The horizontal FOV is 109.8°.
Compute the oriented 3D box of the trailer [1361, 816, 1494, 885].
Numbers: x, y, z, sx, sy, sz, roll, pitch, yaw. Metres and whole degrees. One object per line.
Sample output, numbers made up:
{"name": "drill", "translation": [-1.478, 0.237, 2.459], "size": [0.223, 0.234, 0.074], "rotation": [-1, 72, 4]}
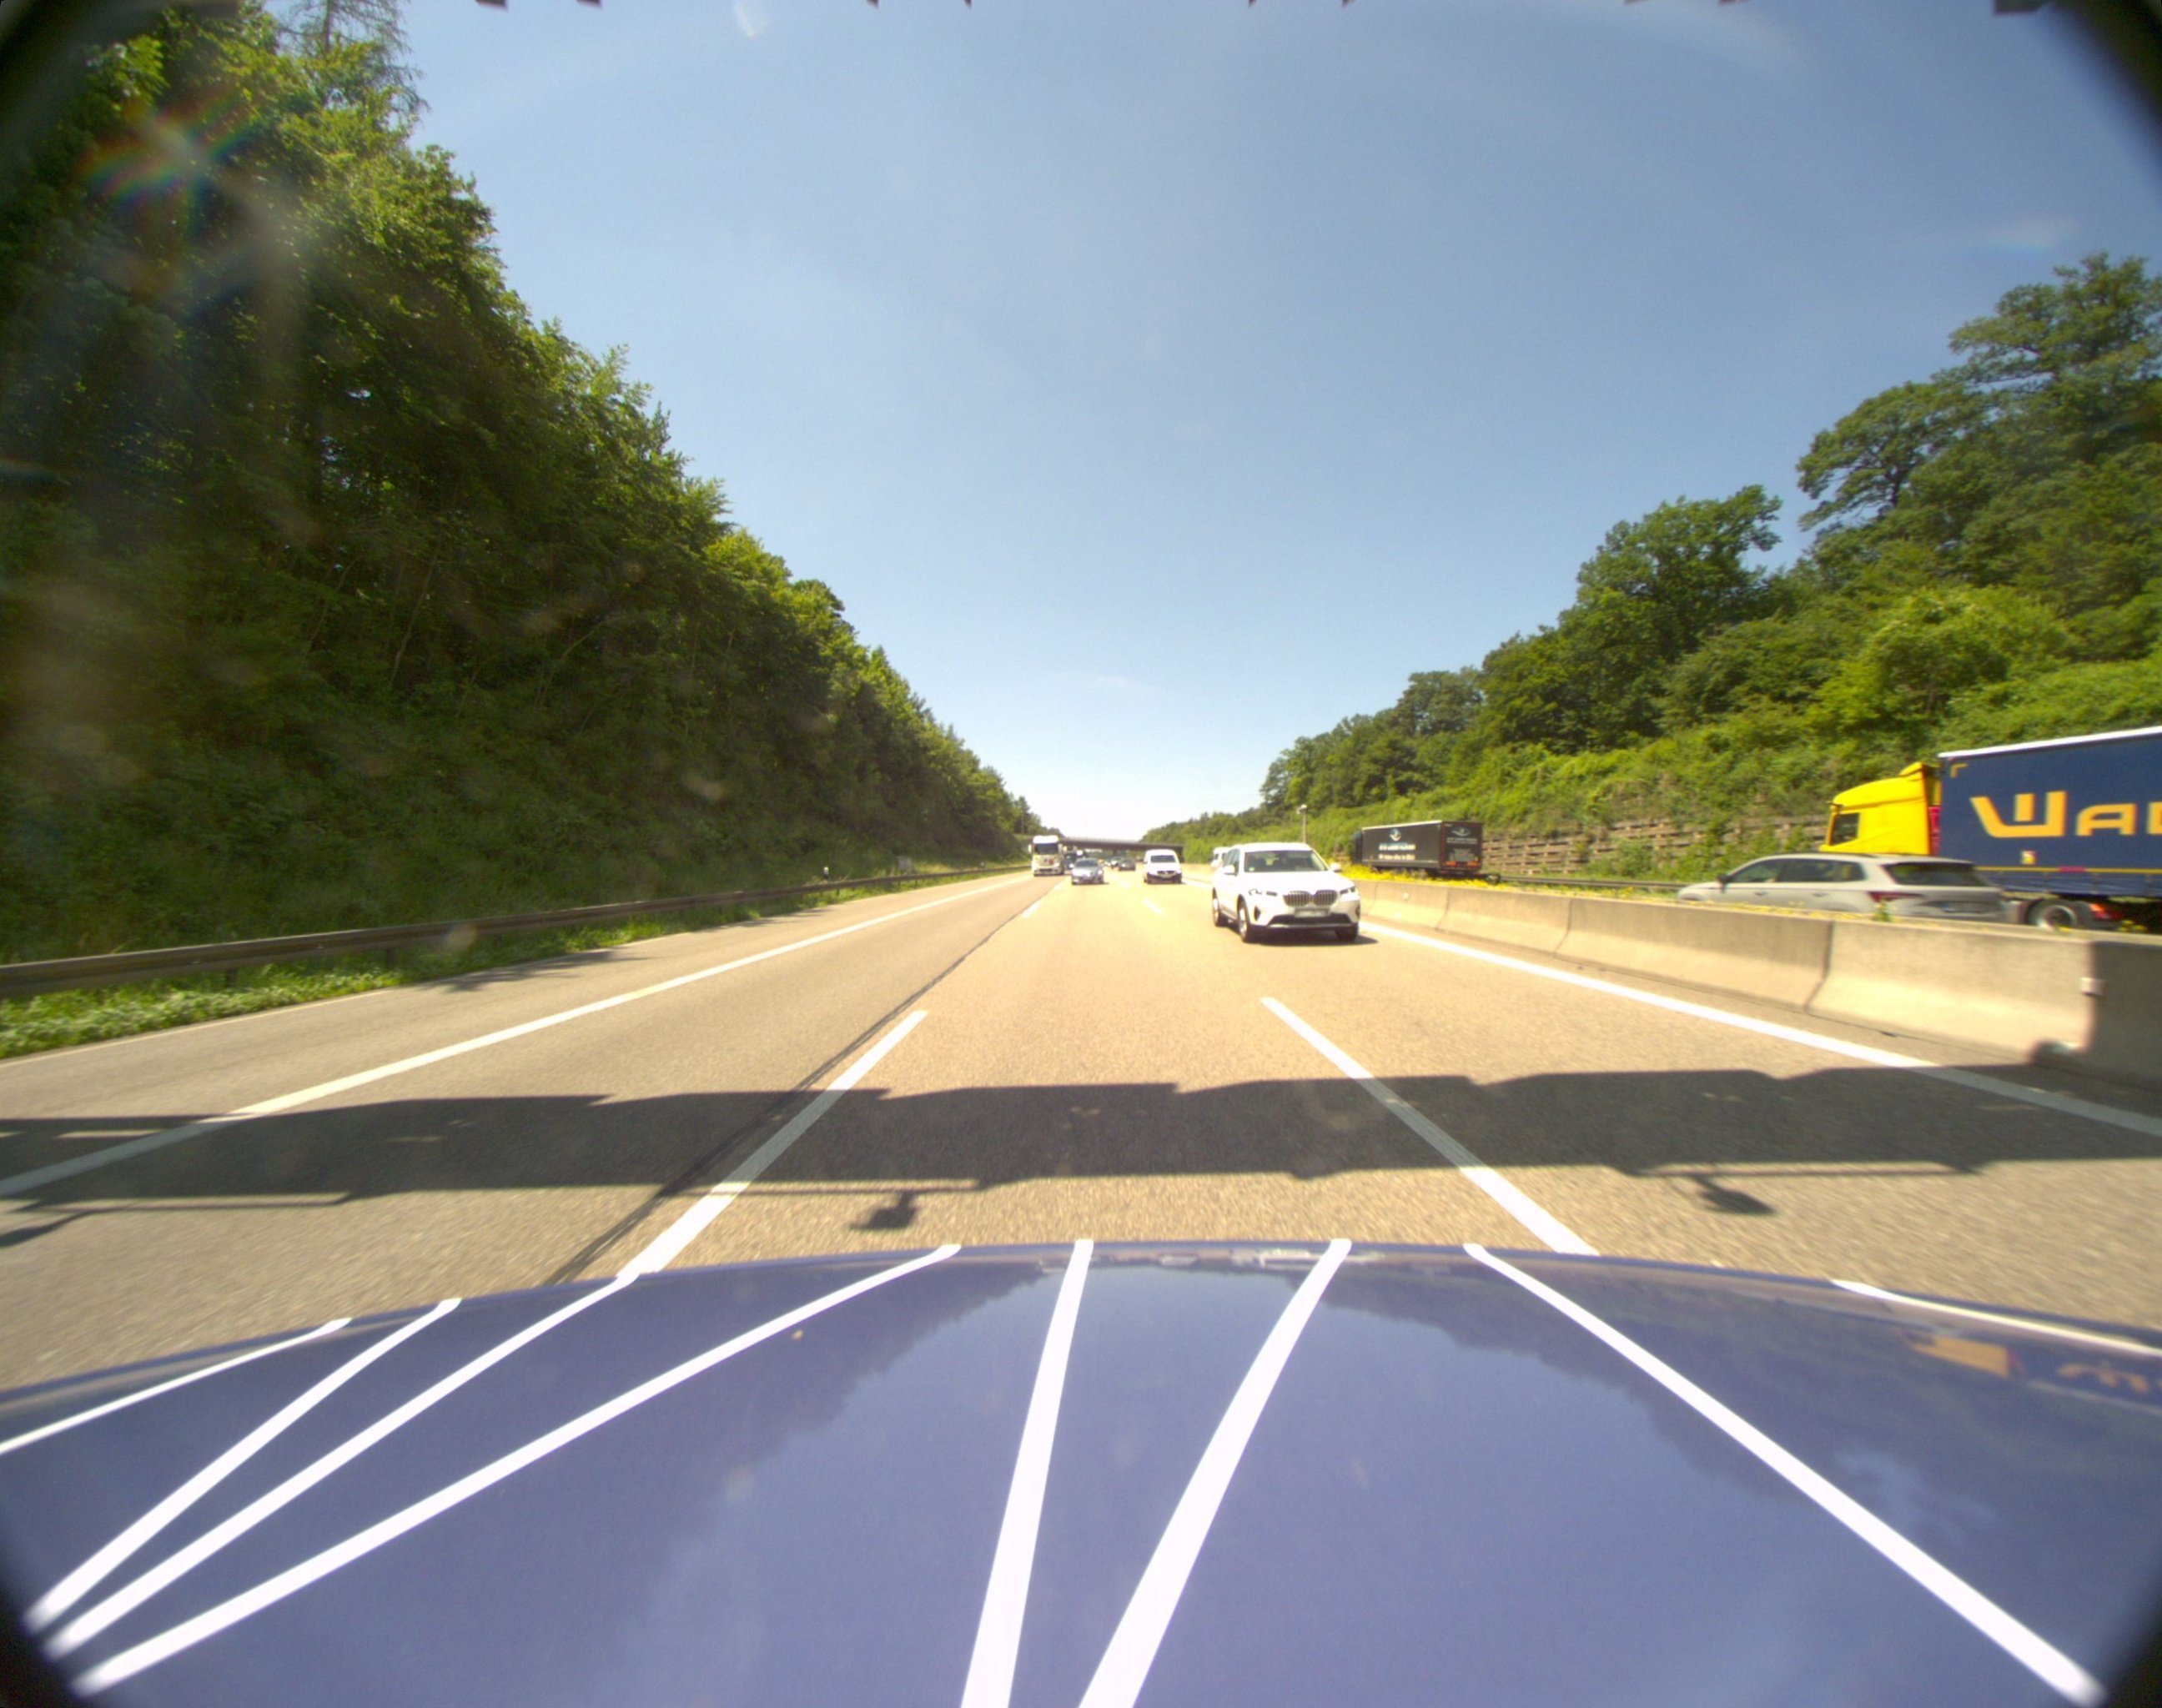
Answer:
{"name": "trailer", "translation": [23.411, -0.226, 52.696], "size": [2.985, 4.077, 13.994], "rotation": [1, 0, 1]}

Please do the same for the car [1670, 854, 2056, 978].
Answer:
{"name": "car", "translation": [11.774, 0.821, 11.955], "size": [1.848, 1.595, 4.117], "rotation": [0, 0, 1]}

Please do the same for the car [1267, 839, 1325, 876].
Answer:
{"name": "car", "translation": [16.186, 0.282, 57.580], "size": [2.761, 2.658, 5.684], "rotation": [0, 0, 1]}

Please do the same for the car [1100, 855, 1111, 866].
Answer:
{"name": "car", "translation": [4.625, 1.217, 142.120], "size": [1.924, 1.849, 4.000], "rotation": [-3, 0, 2]}

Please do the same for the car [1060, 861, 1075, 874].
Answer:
{"name": "car", "translation": [-1.776, 1.790, 99.518], "size": [1.770, 1.504, 4.000], "rotation": [-3, 0, 1]}

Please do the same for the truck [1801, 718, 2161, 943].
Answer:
{"name": "truck", "translation": [20.979, -0.414, 17.390], "size": [2.957, 4.178, 6.459], "rotation": [1, 0, 3]}

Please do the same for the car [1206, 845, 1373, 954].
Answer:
{"name": "car", "translation": [3.584, 0.713, 13.915], "size": [1.850, 1.634, 4.368], "rotation": [-2, 0, 1]}

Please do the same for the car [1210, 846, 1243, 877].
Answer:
{"name": "car", "translation": [12.904, 0.622, 67.716], "size": [2.003, 2.658, 4.846], "rotation": [0, 0, 1]}

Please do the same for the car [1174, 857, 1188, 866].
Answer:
{"name": "car", "translation": [17.362, 1.274, 131.893], "size": [1.944, 1.595, 4.656], "rotation": [0, 0, 1]}

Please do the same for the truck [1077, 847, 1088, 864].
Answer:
{"name": "truck", "translation": [0.525, 0.392, 201.680], "size": [2.627, 4.365, 13.087], "rotation": [-3, 0, 1]}

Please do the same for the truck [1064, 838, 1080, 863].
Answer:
{"name": "truck", "translation": [-1.681, -0.653, 144.050], "size": [2.627, 4.365, 13.087], "rotation": [-3, 0, 1]}

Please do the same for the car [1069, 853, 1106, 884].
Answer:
{"name": "car", "translation": [0.405, 0.776, 42.555], "size": [1.843, 1.518, 4.502], "rotation": [-3, 0, 2]}

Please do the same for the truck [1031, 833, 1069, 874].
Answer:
{"name": "truck", "translation": [-2.849, -0.073, 73.258], "size": [2.844, 3.518, 13.087], "rotation": [-3, 0, 1]}

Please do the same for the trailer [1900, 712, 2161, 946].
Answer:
{"name": "trailer", "translation": [20.580, -0.410, 10.733], "size": [2.985, 4.182, 14.468], "rotation": [1, 0, 3]}

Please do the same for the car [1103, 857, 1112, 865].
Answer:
{"name": "car", "translation": [5.918, 1.548, 169.157], "size": [1.770, 1.504, 4.000], "rotation": [-3, 0, 1]}

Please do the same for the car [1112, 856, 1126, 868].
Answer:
{"name": "car", "translation": [5.305, 1.115, 107.180], "size": [1.770, 1.504, 4.000], "rotation": [-3, 0, 1]}

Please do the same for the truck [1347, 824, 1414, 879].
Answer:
{"name": "truck", "translation": [23.488, -0.207, 59.996], "size": [2.941, 4.036, 5.868], "rotation": [1, 0, 1]}

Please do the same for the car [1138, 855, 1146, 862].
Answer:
{"name": "car", "translation": [15.005, 1.111, 187.634], "size": [1.757, 1.628, 4.303], "rotation": [0, 0, 1]}

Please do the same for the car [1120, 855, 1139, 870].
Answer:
{"name": "car", "translation": [5.336, 0.876, 83.457], "size": [1.770, 1.504, 4.725], "rotation": [-3, 0, 1]}

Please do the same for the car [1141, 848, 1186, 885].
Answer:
{"name": "car", "translation": [4.368, 0.629, 40.757], "size": [1.998, 1.764, 4.502], "rotation": [-3, 0, 2]}
